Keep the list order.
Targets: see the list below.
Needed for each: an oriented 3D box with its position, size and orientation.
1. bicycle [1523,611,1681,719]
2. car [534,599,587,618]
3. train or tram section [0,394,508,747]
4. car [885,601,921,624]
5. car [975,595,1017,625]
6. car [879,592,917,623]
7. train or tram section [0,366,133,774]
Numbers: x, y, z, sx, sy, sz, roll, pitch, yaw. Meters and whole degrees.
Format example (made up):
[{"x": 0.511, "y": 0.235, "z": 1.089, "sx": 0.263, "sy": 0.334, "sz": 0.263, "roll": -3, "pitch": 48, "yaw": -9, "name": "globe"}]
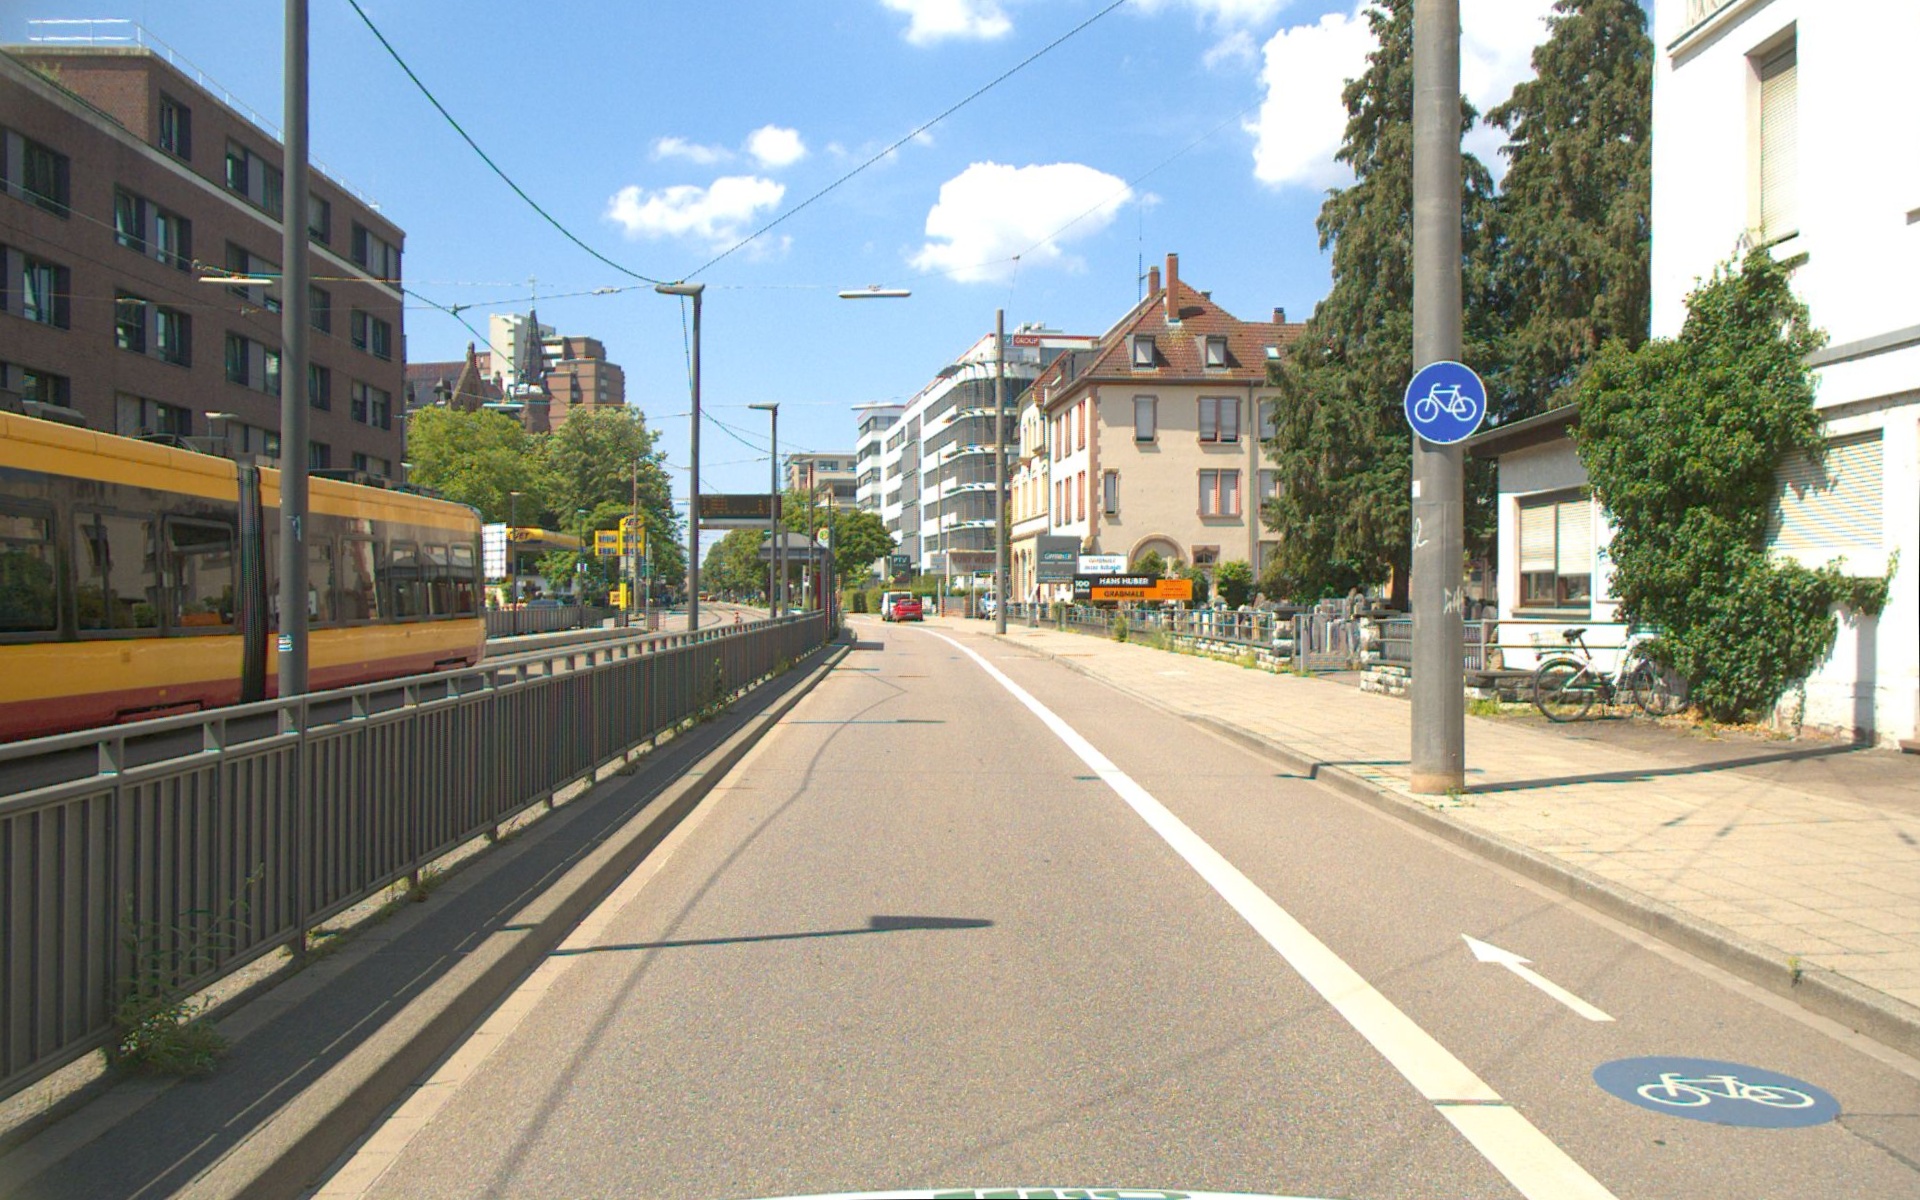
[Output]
[{"x": 6.967, "y": 0.698, "z": 17.975, "sx": 1.500, "sy": 1.105, "sz": 0.430, "roll": -2, "pitch": 0, "yaw": 4, "name": "bicycle"}, {"x": -35.134, "y": 0.725, "z": 145.575, "sx": 1.959, "sy": 1.618, "sz": 4.319, "roll": 0, "pitch": 0, "yaw": 34, "name": "car"}, {"x": -10.460, "y": -0.235, "z": 25.182, "sx": 3.170, "sy": 3.630, "sz": 16.342, "roll": 0, "pitch": 0, "yaw": -2, "name": "train or tram section"}, {"x": -3.738, "y": 0.837, "z": 108.248, "sx": 1.956, "sy": 1.467, "sz": 4.010, "roll": 0, "pitch": 0, "yaw": -8, "name": "car"}, {"x": 2.119, "y": 0.584, "z": 98.922, "sx": 1.842, "sy": 1.652, "sz": 4.632, "roll": -3, "pitch": 0, "yaw": -7, "name": "car"}, {"x": -4.323, "y": 0.493, "z": 114.624, "sx": 1.957, "sy": 2.026, "sz": 5.502, "roll": -2, "pitch": 0, "yaw": -9, "name": "car"}, {"x": -9.885, "y": -0.310, "z": 6.916, "sx": 3.185, "sy": 3.630, "sz": 20.492, "roll": 0, "pitch": 0, "yaw": -2, "name": "train or tram section"}]
